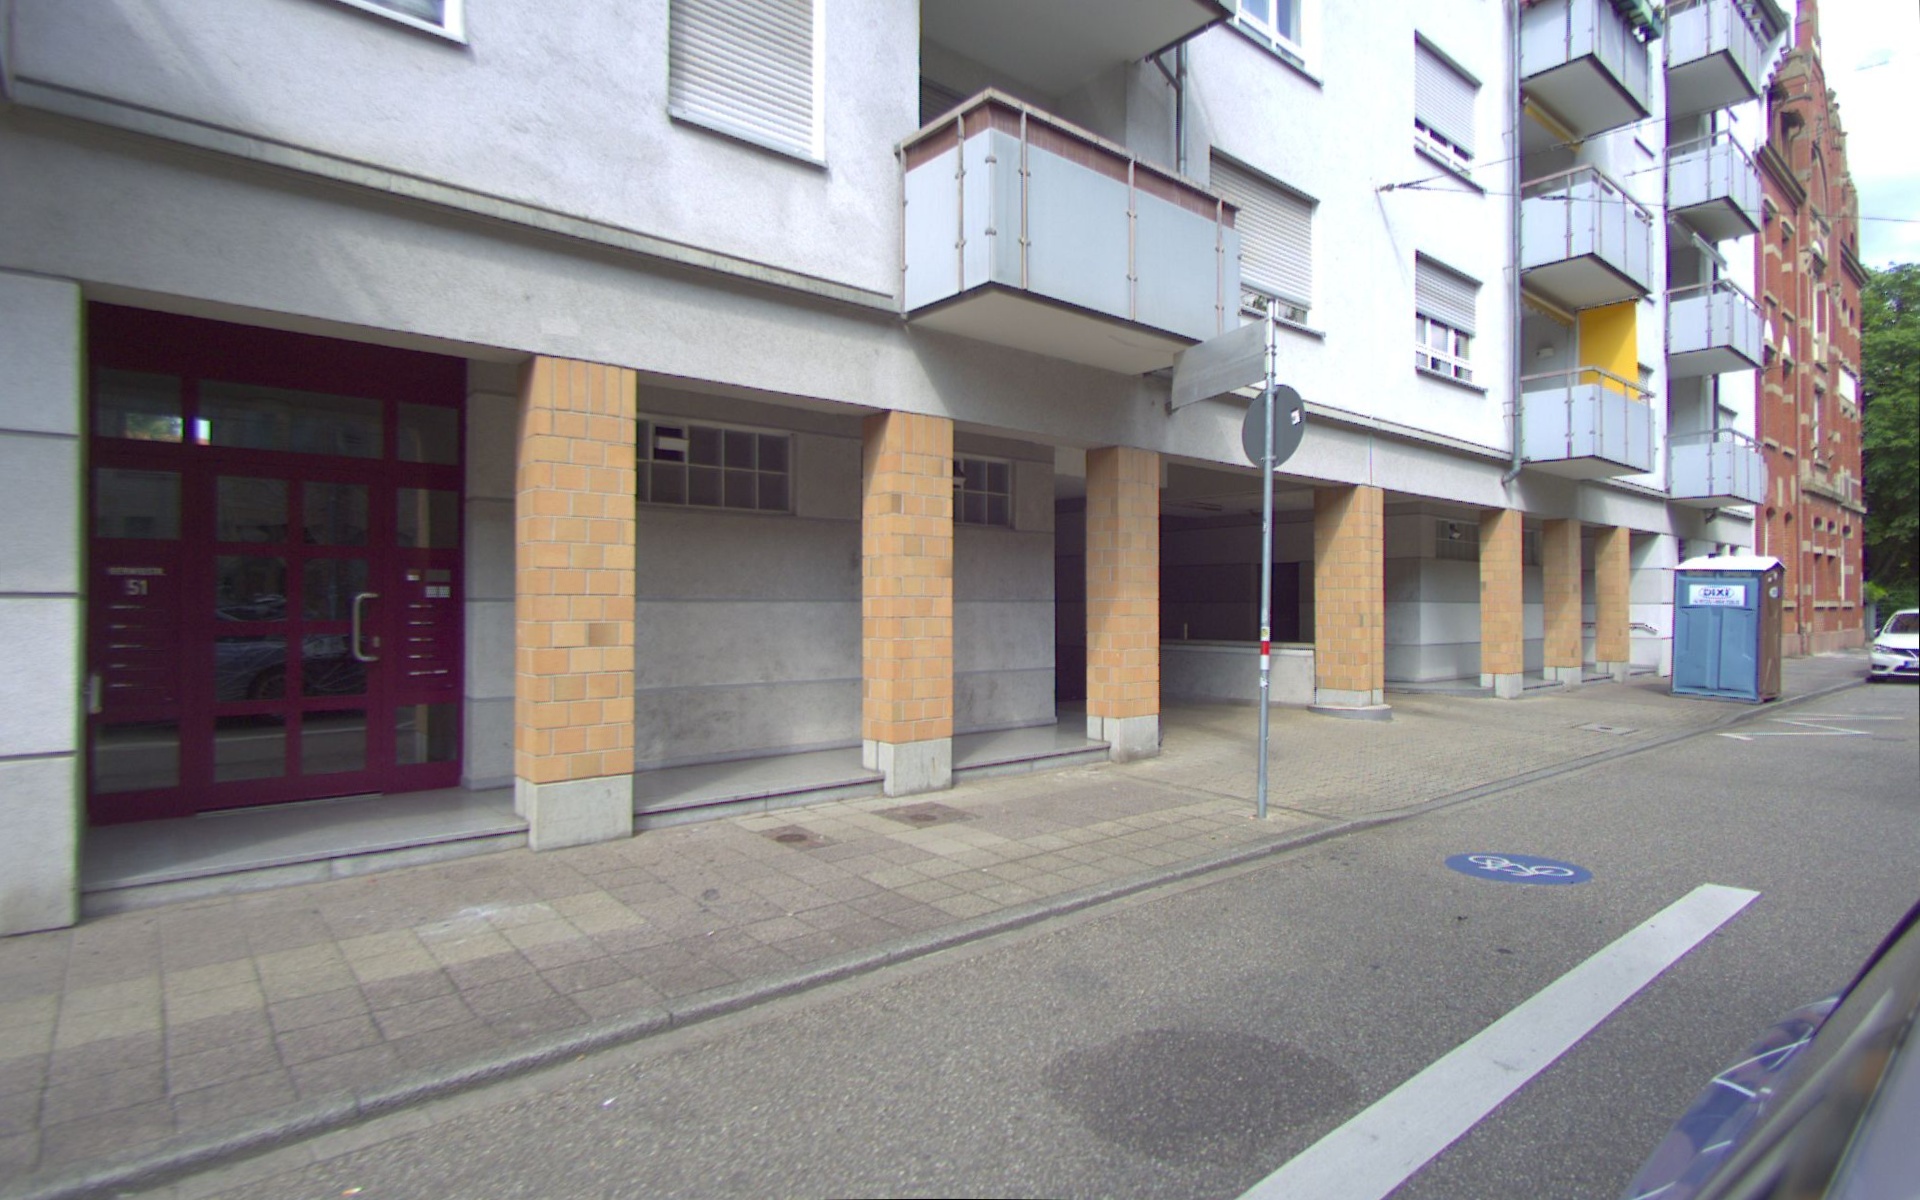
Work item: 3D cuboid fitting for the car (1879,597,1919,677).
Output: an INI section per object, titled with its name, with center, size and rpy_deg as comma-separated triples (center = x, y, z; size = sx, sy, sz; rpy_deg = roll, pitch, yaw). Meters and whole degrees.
[car]
center = 20.420, 0.720, 20.779
size = 3.970, 1.549, 1.799
rpy_deg = 0, -1, -41
